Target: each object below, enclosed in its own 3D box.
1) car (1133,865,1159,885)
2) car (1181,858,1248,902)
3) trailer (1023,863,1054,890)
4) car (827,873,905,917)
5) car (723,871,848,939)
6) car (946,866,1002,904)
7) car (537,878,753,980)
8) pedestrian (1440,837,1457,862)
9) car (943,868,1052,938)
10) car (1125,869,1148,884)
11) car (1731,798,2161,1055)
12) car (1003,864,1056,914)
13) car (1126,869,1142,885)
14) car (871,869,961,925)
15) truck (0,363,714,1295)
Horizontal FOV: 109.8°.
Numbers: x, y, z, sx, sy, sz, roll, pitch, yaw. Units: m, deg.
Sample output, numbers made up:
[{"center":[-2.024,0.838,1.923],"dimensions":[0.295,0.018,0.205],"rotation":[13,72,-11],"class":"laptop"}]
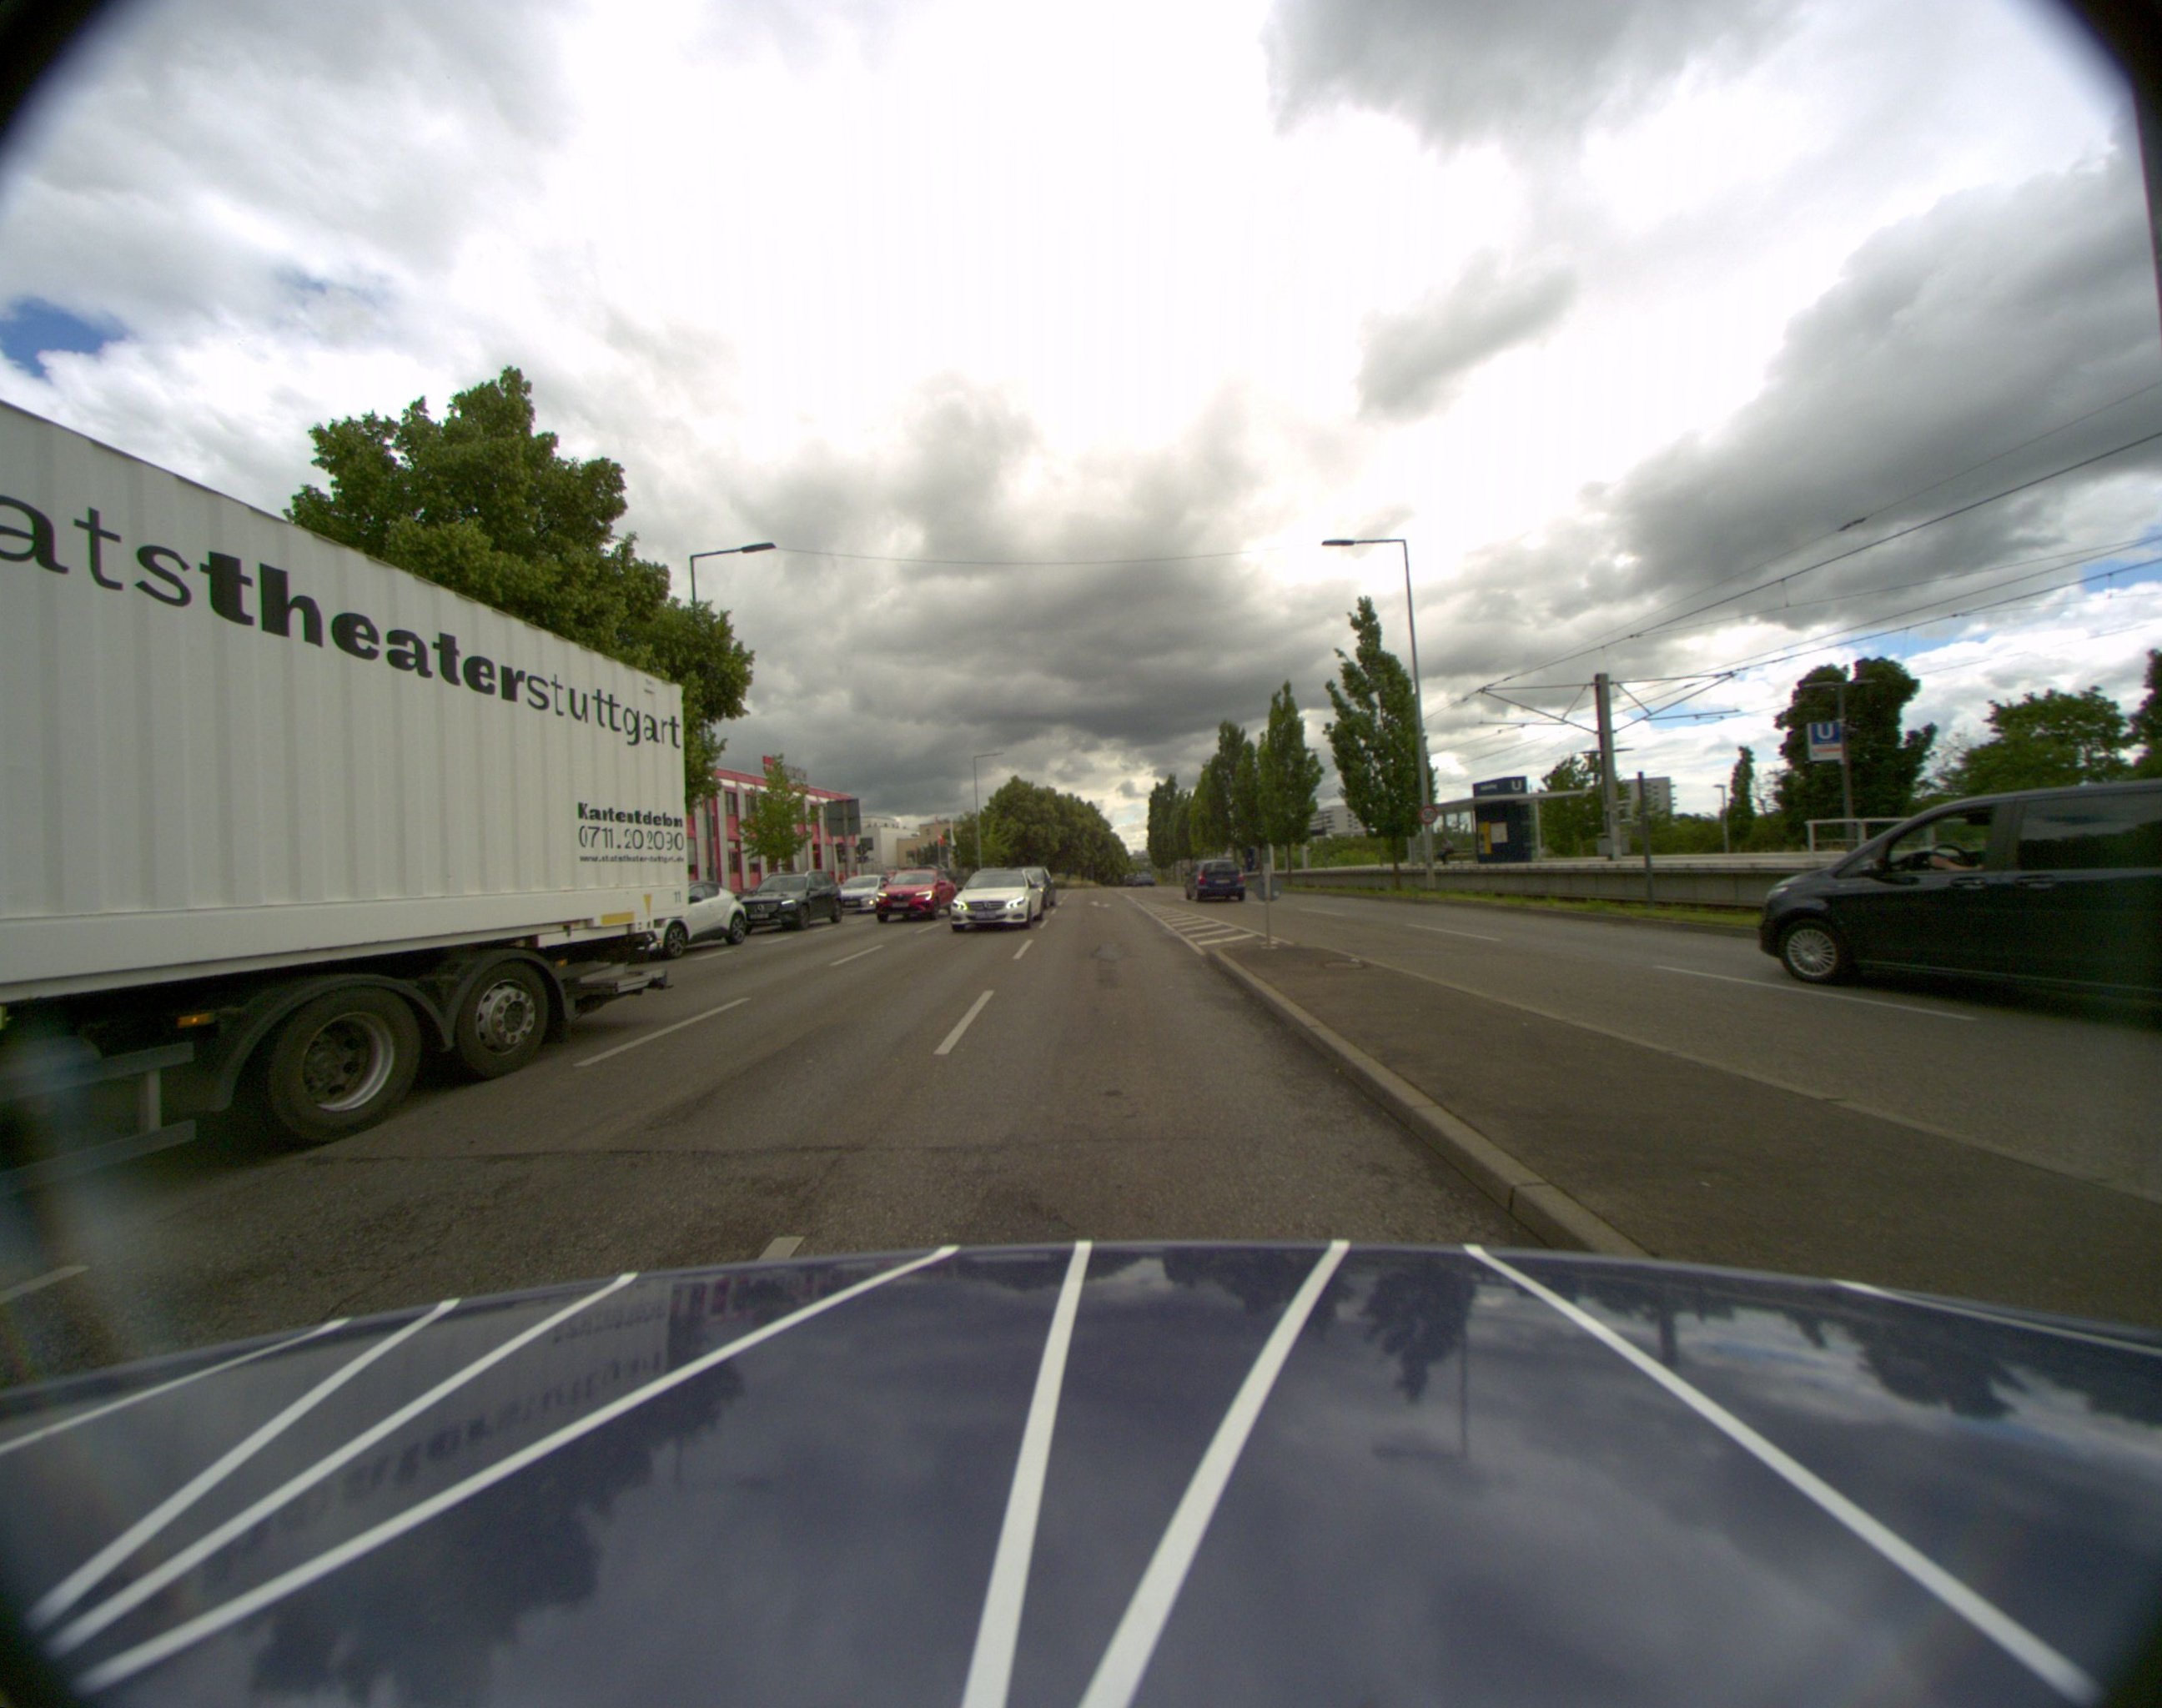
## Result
[{"center":[5.759,1.864,67.816],"dimensions":[1.761,1.519,3.599],"rotation":[-2,1,-3],"class":"car"},{"center":[4.965,0.930,28.722],"dimensions":[1.740,1.499,3.659],"rotation":[-2,0,-2],"class":"car"},{"center":[-2.938,1.548,52.771],"dimensions":[1.775,1.650,3.996],"rotation":[-2,1,1],"class":"trailer"},{"center":[-8.455,1.569,30.275],"dimensions":[1.763,1.431,4.370],"rotation":[-3,0,0],"class":"car"},{"center":[-8.449,1.382,22.159],"dimensions":[1.865,1.648,4.209],"rotation":[-4,-1,1],"class":"car"},{"center":[-5.084,1.442,36.537],"dimensions":[1.797,1.521,4.219],"rotation":[-2,1,3],"class":"car"},{"center":[-8.598,1.391,15.485],"dimensions":[1.844,1.507,4.106],"rotation":[-6,0,1],"class":"car"},{"center":[17.799,-0.216,36.789],"dimensions":[0.601,1.148,0.447],"rotation":[-2,1,1],"class":"pedestrian"},{"center":[-1.986,1.157,19.405],"dimensions":[1.803,1.403,4.318],"rotation":[-2,1,6],"class":"car"},{"center":[6.124,2.479,84.213],"dimensions":[1.876,1.416,4.430],"rotation":[-2,1,-4],"class":"car"},{"center":[8.439,0.479,6.079],"dimensions":[1.893,1.802,5.090],"rotation":[-2,0,-4],"class":"car"},{"center":[-1.875,1.259,28.690],"dimensions":[1.669,1.589,3.996],"rotation":[-2,1,0],"class":"car"},{"center":[7.642,3.269,109.458],"dimensions":[1.920,1.953,5.372],"rotation":[-2,1,1],"class":"car"},{"center":[-5.144,1.299,24.321],"dimensions":[1.851,1.521,4.377],"rotation":[-2,-1,0],"class":"car"},{"center":[-5.884,-0.078,3.853],"dimensions":[2.810,3.880,10.182],"rotation":[-2,0,1],"class":"truck"}]
